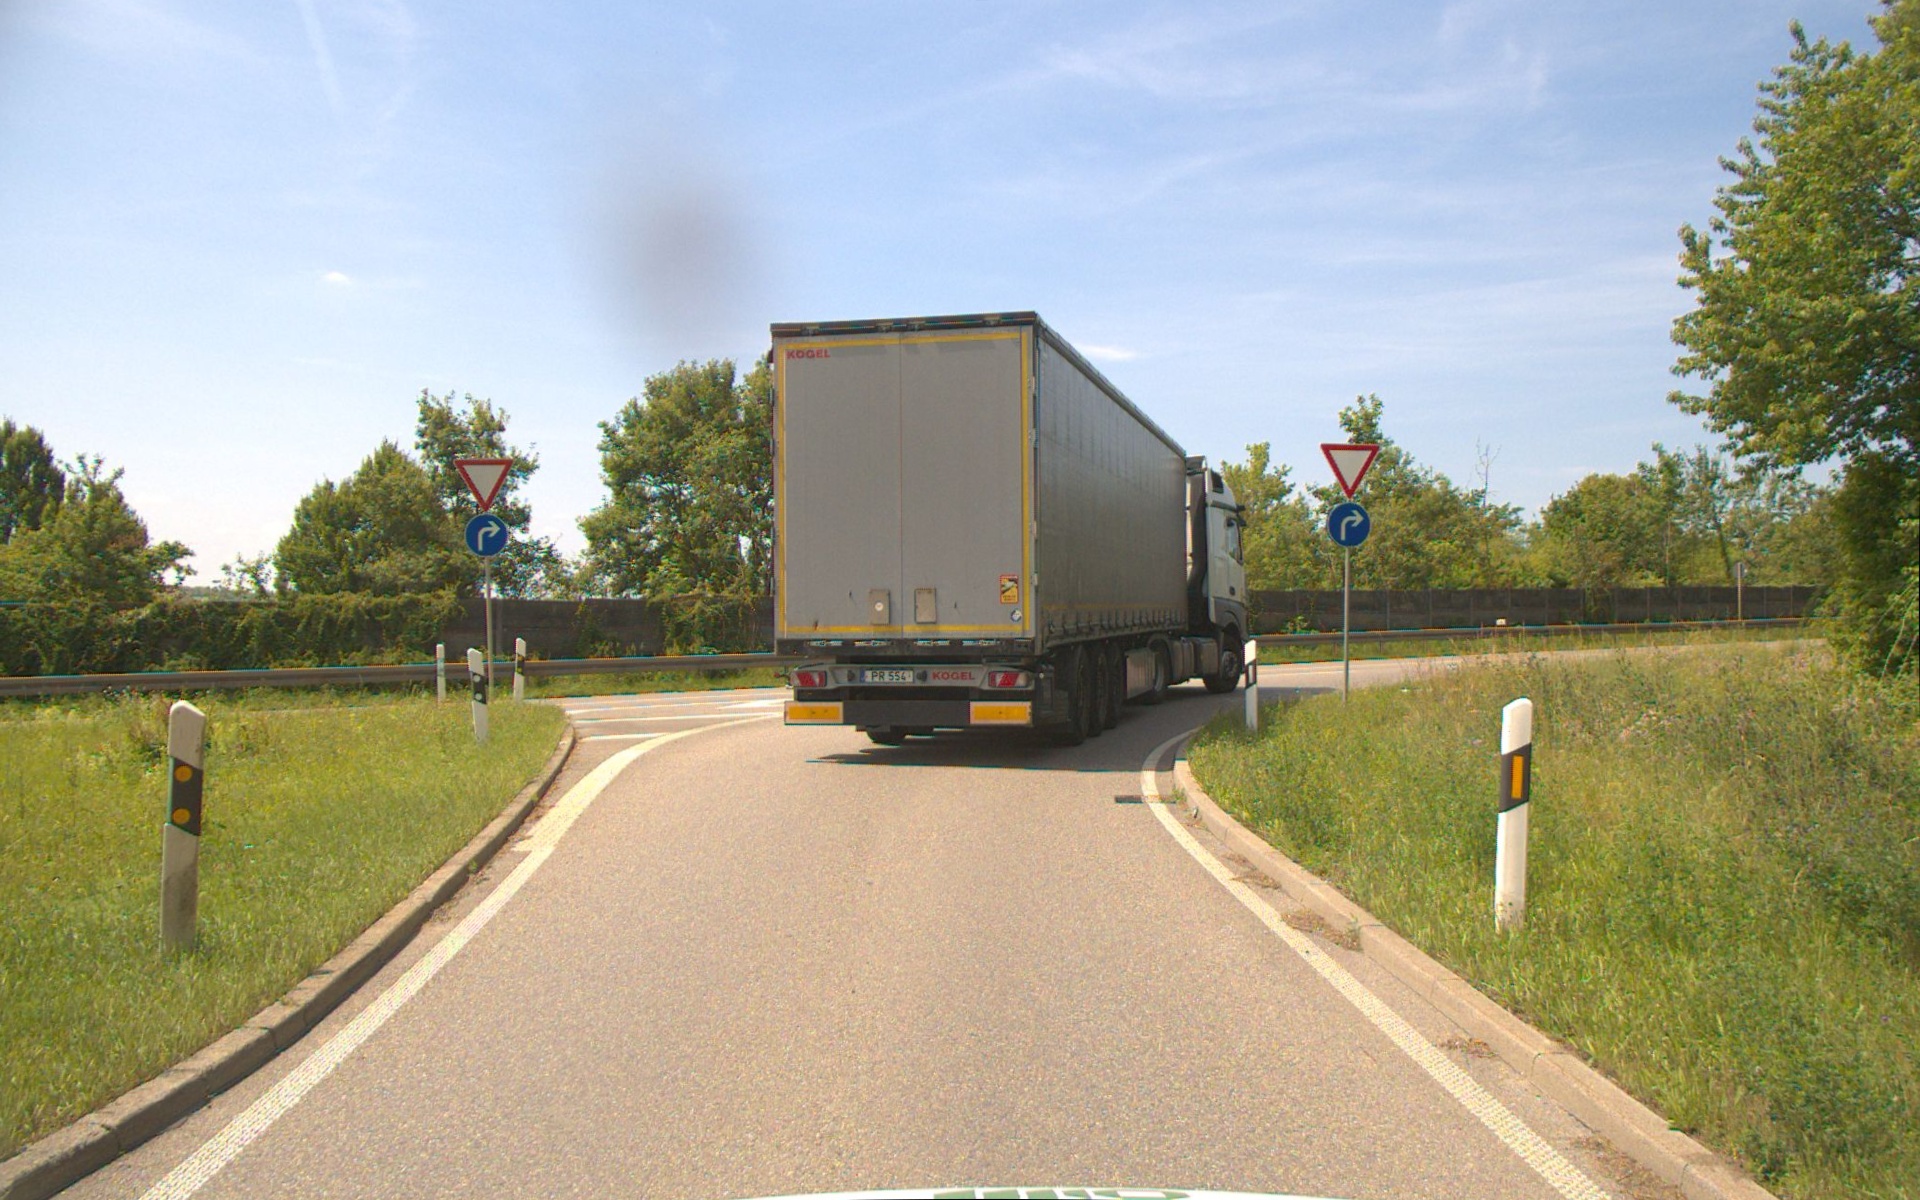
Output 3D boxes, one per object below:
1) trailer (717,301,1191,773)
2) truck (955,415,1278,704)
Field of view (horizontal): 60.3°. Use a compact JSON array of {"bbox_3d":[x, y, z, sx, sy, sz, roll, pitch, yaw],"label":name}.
[{"bbox_3d":[0.796,-0.509,21.222,2.962,4.105,13.362,-1,0,14],"label":"trailer"},{"bbox_3d":[2.927,-0.592,28.456,3.092,4.298,7.113,-1,0,27],"label":"truck"}]
